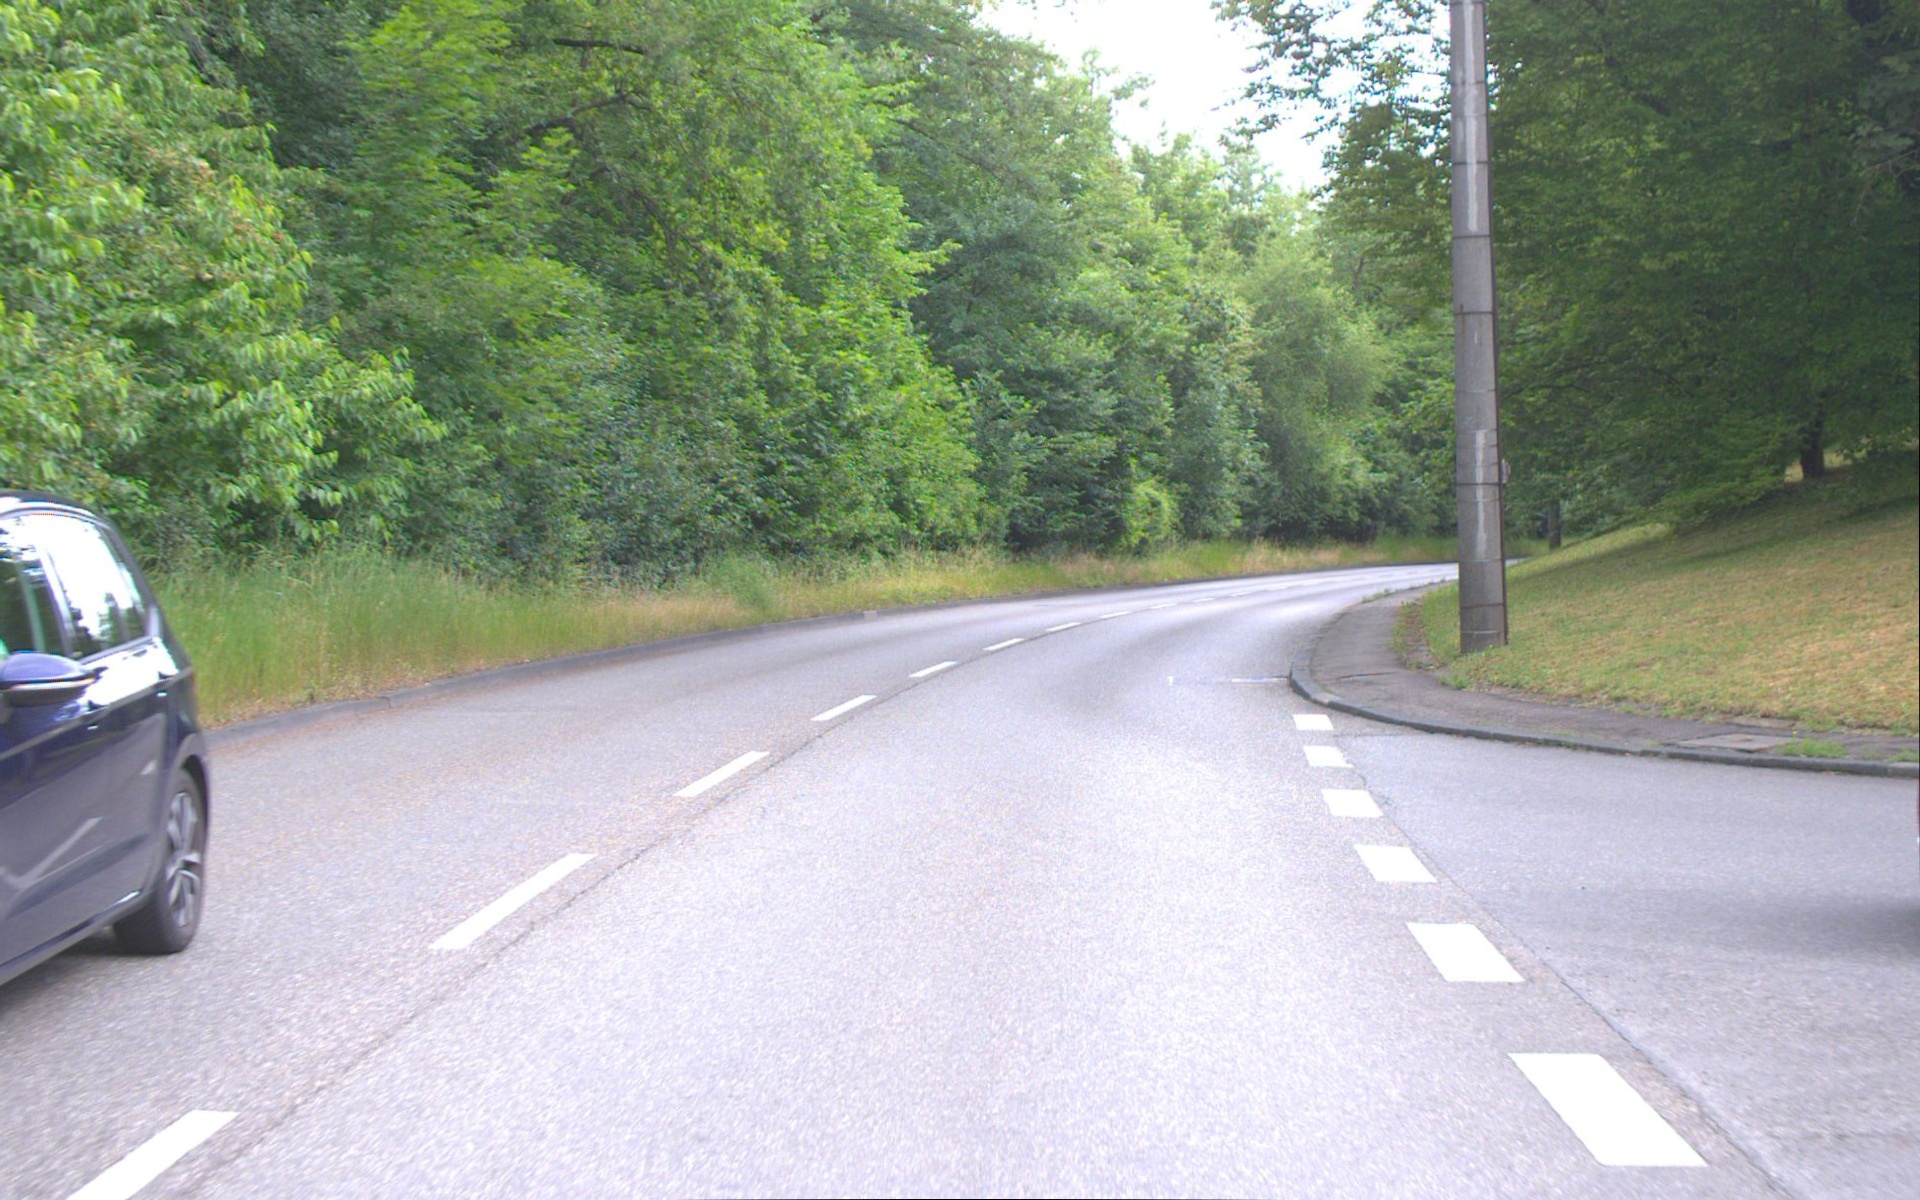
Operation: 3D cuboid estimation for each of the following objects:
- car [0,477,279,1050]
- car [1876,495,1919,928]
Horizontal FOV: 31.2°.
[{"bbox_3d":[-3.410,0.391,10.178,1.789,1.509,4.843,0,2,0],"label":"car"},{"bbox_3d":[4.915,0.345,11.521,3.304,1.489,1.668,-1,1,6],"label":"car"}]
